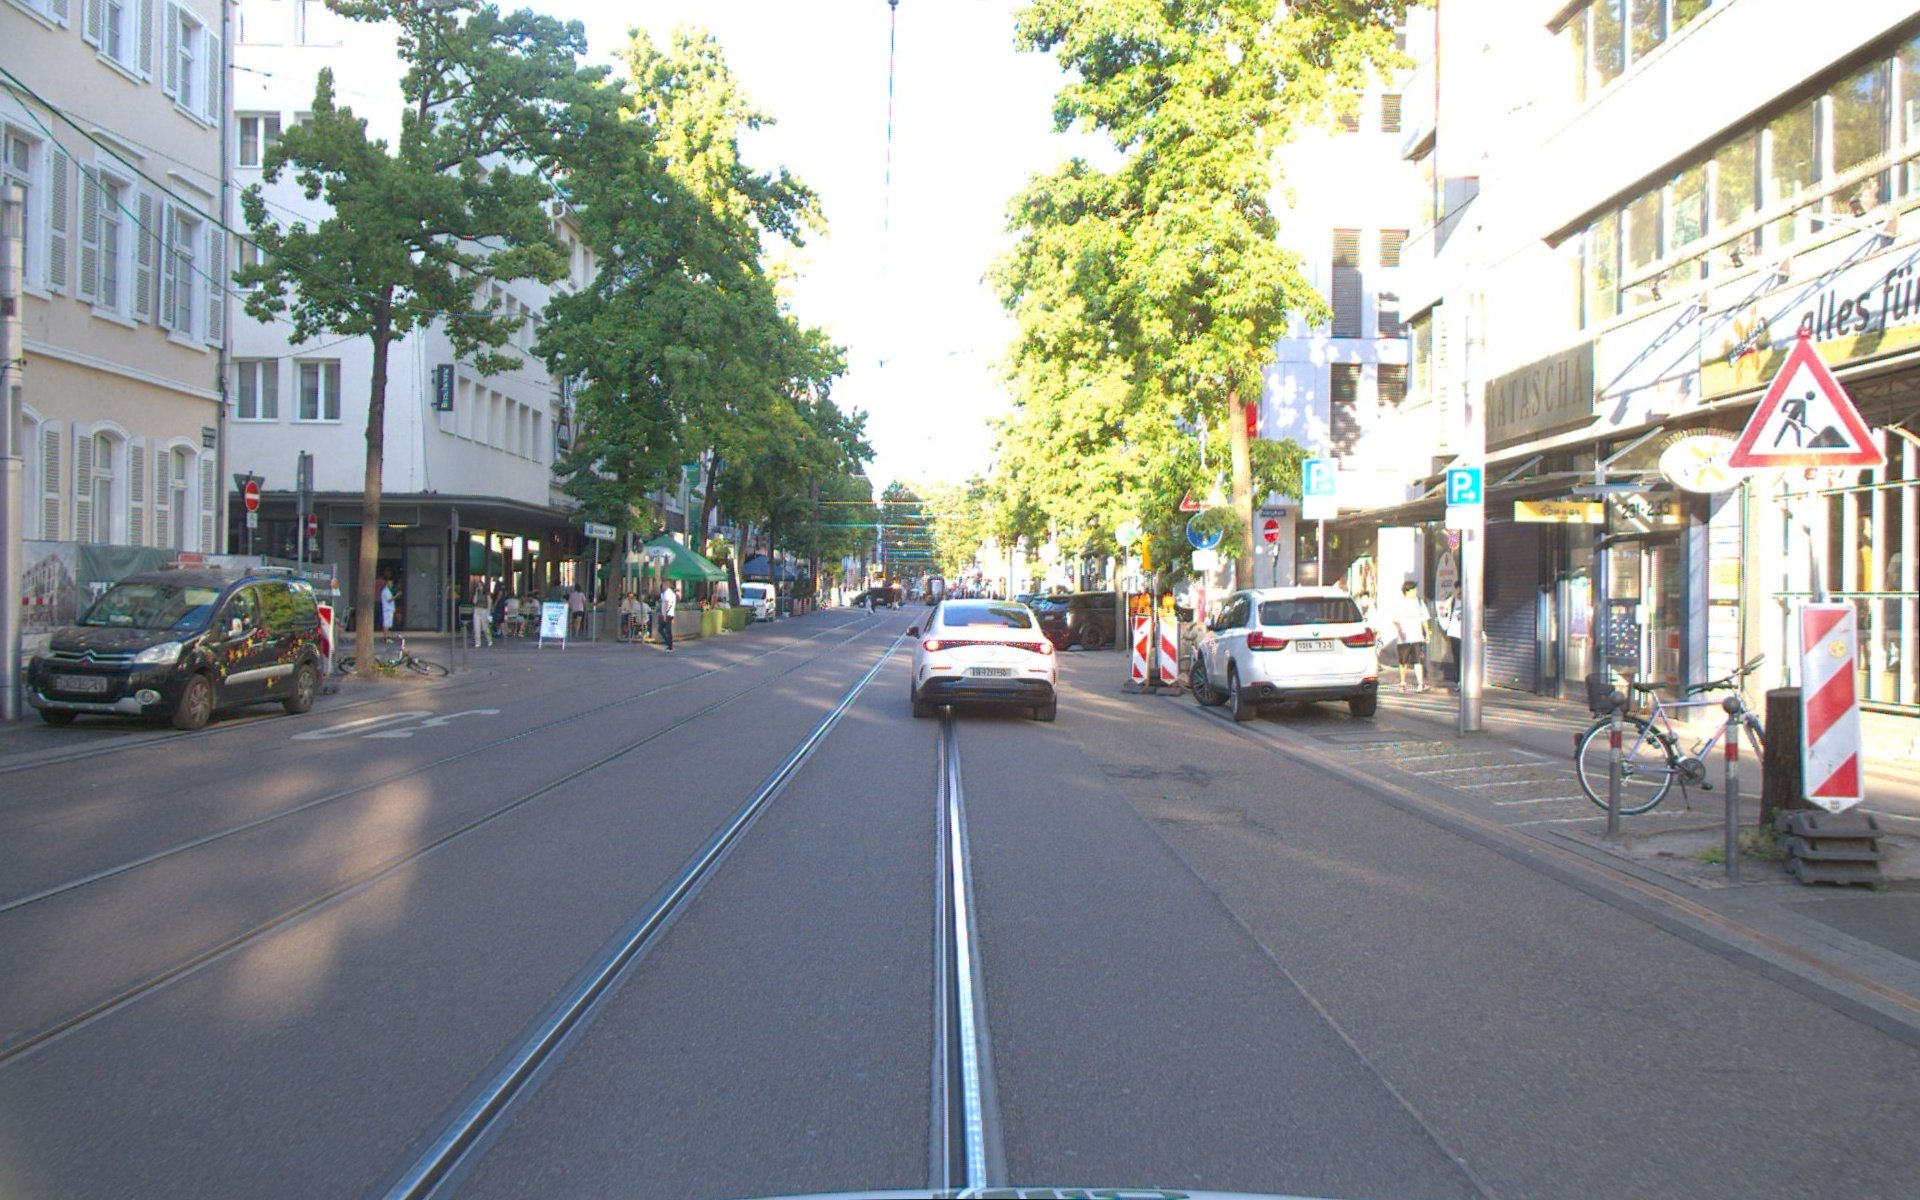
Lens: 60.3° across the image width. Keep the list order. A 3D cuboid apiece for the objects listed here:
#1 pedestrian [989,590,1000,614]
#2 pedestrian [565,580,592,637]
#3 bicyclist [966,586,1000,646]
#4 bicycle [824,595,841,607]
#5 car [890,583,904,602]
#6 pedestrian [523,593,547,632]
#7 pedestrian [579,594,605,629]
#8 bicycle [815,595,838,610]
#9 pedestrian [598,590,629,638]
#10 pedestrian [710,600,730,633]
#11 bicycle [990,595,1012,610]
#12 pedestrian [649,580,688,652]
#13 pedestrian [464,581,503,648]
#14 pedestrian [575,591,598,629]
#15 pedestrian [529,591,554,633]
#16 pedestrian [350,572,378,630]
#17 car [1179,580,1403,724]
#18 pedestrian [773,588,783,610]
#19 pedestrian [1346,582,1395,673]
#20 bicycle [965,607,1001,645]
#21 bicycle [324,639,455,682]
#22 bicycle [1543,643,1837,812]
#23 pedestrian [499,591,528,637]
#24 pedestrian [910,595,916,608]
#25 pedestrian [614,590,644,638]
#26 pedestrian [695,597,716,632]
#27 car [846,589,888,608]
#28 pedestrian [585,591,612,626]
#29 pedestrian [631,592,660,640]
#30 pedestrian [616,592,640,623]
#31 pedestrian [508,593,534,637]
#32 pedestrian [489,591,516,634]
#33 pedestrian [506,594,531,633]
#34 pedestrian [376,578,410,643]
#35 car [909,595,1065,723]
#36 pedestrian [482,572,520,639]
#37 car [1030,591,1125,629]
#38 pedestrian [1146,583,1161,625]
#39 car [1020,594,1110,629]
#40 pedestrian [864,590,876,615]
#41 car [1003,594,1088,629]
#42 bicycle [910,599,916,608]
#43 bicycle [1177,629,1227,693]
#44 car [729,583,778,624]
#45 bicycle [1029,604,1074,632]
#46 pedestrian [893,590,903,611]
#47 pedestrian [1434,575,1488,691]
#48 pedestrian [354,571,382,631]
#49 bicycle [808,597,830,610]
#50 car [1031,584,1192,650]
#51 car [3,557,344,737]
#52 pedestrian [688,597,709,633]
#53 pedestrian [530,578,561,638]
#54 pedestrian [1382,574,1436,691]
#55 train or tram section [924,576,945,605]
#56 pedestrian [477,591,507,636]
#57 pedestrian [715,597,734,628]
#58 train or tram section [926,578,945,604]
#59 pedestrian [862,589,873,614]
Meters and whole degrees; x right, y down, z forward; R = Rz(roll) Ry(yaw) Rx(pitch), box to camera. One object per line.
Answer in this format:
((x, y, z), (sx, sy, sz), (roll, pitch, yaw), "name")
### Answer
((2.722, 0.163, 130.382), (0.824, 1.832, 0.790), (2, 0, 0), "pedestrian")
((-11.692, 0.248, 50.696), (0.606, 1.699, 0.697), (2, 0, -1), "pedestrian")
((0.650, 0.437, 46.166), (0.761, 1.641, 0.913), (2, 0, 8), "bicyclist")
((-11.417, 0.068, 147.839), (1.466, 1.047, 0.344), (2, 0, -11), "bicycle")
((-9.827, -1.135, 257.451), (1.953, 2.948, 5.274), (0, 0, 0), "car")
((-13.230, 0.392, 51.495), (0.541, 1.182, 0.687), (2, 0, 0), "pedestrian")
((-13.619, 0.419, 61.235), (0.721, 1.253, 0.788), (3, 0, -1), "pedestrian")
((-10.392, 0.181, 128.443), (1.754, 1.096, 0.377), (2, 0, -5), "bicycle")
((-10.289, 0.410, 49.145), (0.675, 1.410, 0.807), (2, 0, 0), "pedestrian")
((-9.811, 0.670, 67.737), (0.643, 1.266, 0.872), (3, 0, -1), "pedestrian")
((3.634, 0.208, 146.383), (1.875, 1.303, 0.608), (-1, 0, -12), "bicycle")
((-7.312, 0.404, 41.551), (0.779, 1.771, 0.866), (1, 1, 3), "pedestrian")
((-12.189, 0.364, 42.319), (0.692, 1.685, 0.967), (0, 1, 1), "pedestrian")
((-13.579, 0.369, 60.168), (0.606, 1.332, 0.697), (3, 0, -1), "pedestrian")
((-13.572, 0.378, 53.672), (0.590, 1.321, 0.687), (2, 0, 0), "pedestrian")
((-16.834, 0.025, 46.705), (0.396, 1.632, 0.619), (1, 0, 33), "pedestrian")
((4.562, 0.654, 23.609), (1.982, 1.768, 4.905), (-2, 0, -2), "car")
((-13.123, -0.076, 119.132), (0.585, 1.559, 0.671), (2, 0, 0), "pedestrian")
((8.814, 0.585, 35.539), (0.816, 1.930, 0.918), (-1, 0, 2), "pedestrian")
((0.653, 0.711, 46.262), (0.703, 1.012, 2.060), (2, 0, 8), "bicycle")
((-9.760, 1.034, 28.371), (1.758, 0.619, 1.282), (2, 0, 2), "bicycle")
((5.294, 0.916, 12.102), (1.774, 1.154, 0.841), (-1, -1, 7), "bicycle")
((-13.129, 0.407, 48.617), (0.614, 1.304, 0.727), (2, 0, 0), "pedestrian")
((-6.673, 0.181, 235.308), (0.784, 1.813, 0.848), (2, 0, -2), "pedestrian")
((-10.004, 0.423, 49.976), (0.675, 1.410, 0.807), (2, 0, 0), "pedestrian")
((-9.487, 0.537, 61.675), (0.606, 1.266, 0.697), (3, 0, -1), "pedestrian")
((-9.267, -0.170, 164.593), (3.917, 1.780, 1.853), (1, 0, -12), "car")
((-13.635, 0.300, 62.336), (0.761, 1.258, 0.945), (3, 0, -1), "pedestrian")
((-9.344, 0.473, 49.161), (0.675, 1.410, 0.807), (2, 0, 0), "pedestrian")
((-13.705, 0.317, 68.350), (0.737, 1.209, 1.065), (3, 0, -1), "pedestrian")
((-12.942, 0.442, 48.742), (0.541, 1.257, 0.687), (2, 0, 0), "pedestrian")
((-13.489, 0.362, 48.771), (0.541, 1.257, 0.687), (2, 0, 0), "pedestrian")
((-13.795, 0.429, 51.653), (0.541, 1.182, 0.687), (2, 0, 0), "pedestrian")
((-14.704, 0.263, 42.920), (0.783, 1.642, 0.862), (1, 2, -18), "pedestrian")
((0.296, 0.696, 21.788), (1.819, 1.481, 4.174), (1, 0, -1), "car")
((-12.941, 0.149, 46.653), (0.670, 1.847, 0.764), (2, 0, 14), "pedestrian")
((5.426, 0.455, 76.058), (4.110, 1.598, 1.832), (-2, 1, -34), "car")
((8.170, 0.166, 69.841), (0.512, 1.781, 0.559), (-2, 0, 1), "pedestrian")
((5.312, 0.590, 83.492), (4.195, 1.615, 1.864), (-2, 0, -32), "car")
((-5.803, 0.135, 106.724), (0.609, 1.577, 0.852), (3, 0, 0), "pedestrian")
((4.547, 0.592, 87.668), (4.301, 1.681, 1.676), (-2, 0, -32), "car")
((-6.684, 0.511, 235.359), (0.784, 1.162, 2.256), (2, 0, -2), "bicycle")
((4.074, 1.012, 27.933), (0.483, 0.999, 1.929), (0, 0, -3), "bicycle")
((-10.162, 0.161, 81.715), (1.759, 1.897, 4.553), (3, 0, 0), "car")
((3.946, 0.763, 71.258), (1.870, 1.139, 0.660), (-2, 0, -30), "bicycle")
((-5.362, 0.060, 143.090), (0.771, 1.832, 0.844), (1, 0, 0), "pedestrian")
((8.135, 0.527, 26.873), (0.674, 1.862, 0.634), (0, 0, -1), "pedestrian")
((-16.453, 0.028, 45.979), (0.396, 1.632, 0.619), (1, 0, 33), "pedestrian")
((-10.655, 0.262, 125.232), (1.562, 0.947, 0.377), (2, 0, 6), "bicycle")
((4.674, 0.498, 50.806), (4.603, 1.794, 1.974), (-2, 0, -30), "car")
((-9.195, 0.488, 19.841), (1.819, 1.864, 4.559), (1, 0, 1), "car")
((-9.594, 0.556, 60.777), (0.606, 1.266, 0.697), (3, 0, -1), "pedestrian")
((-12.563, 0.244, 50.141), (0.664, 1.787, 0.697), (2, 0, 1), "pedestrian")
((7.279, 0.521, 26.827), (0.691, 1.862, 0.634), (0, 0, -1), "pedestrian")
((-3.158, -1.174, 206.833), (2.639, 3.578, 12.543), (0, 0, -1), "train or tram section")
((-13.777, 0.382, 48.683), (0.631, 1.291, 0.738), (2, 0, 0), "pedestrian")
((-9.787, 0.517, 68.789), (0.643, 1.214, 0.798), (3, 0, -1), "pedestrian")
((-3.407, -1.283, 231.223), (2.639, 3.578, 11.141), (0, 0, -1), "train or tram section")
((-5.911, 0.111, 105.551), (0.609, 1.535, 0.833), (3, 0, 0), "pedestrian")
